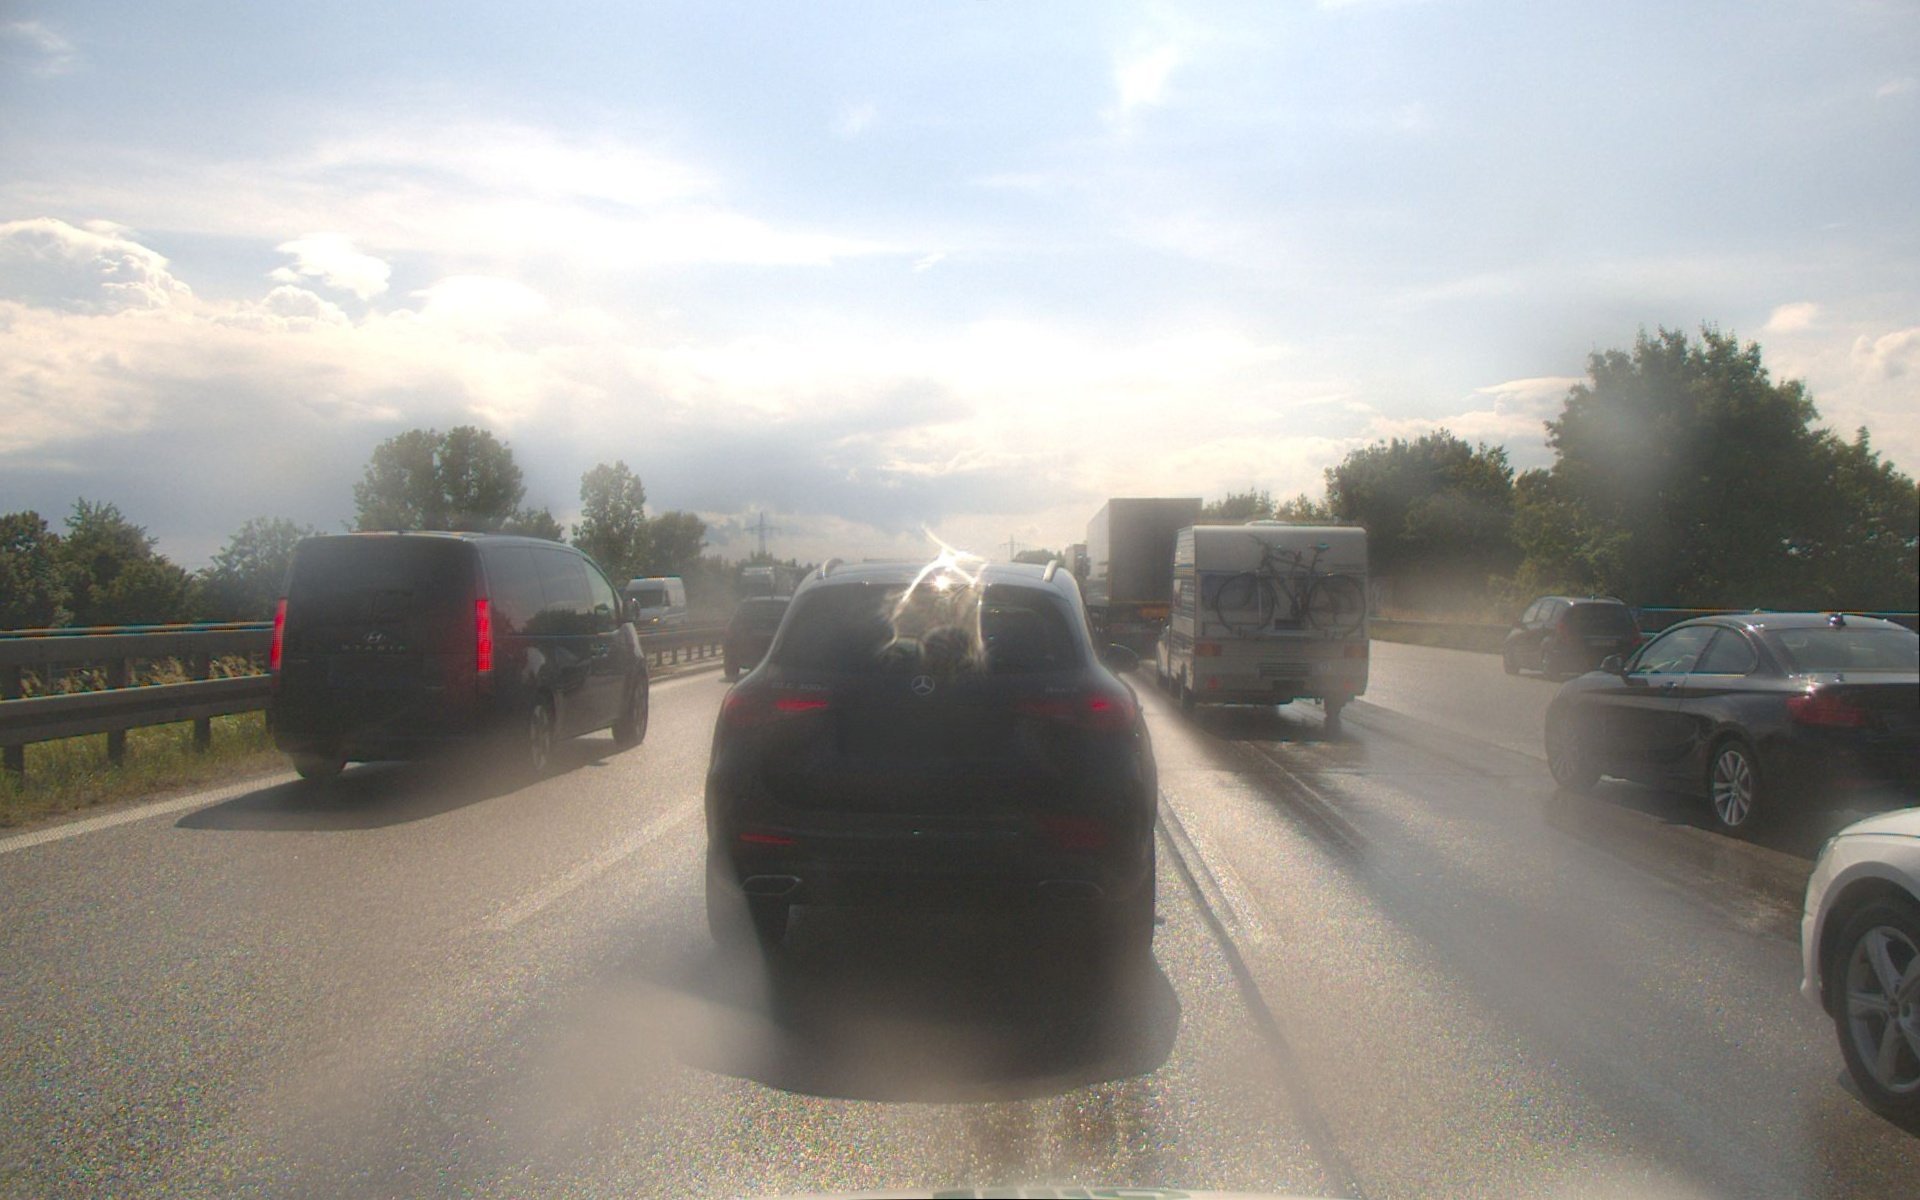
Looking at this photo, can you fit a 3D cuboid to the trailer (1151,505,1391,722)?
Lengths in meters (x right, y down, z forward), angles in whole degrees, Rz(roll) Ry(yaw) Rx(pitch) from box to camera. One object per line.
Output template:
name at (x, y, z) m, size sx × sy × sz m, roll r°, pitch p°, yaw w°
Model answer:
trailer at (4.058, 0.161, 22.858) m, size 2.325 × 2.526 × 6.525 m, roll 1°, pitch 0°, yaw 2°

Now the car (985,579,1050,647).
car at (1.943, 0.414, 54.775) m, size 1.952 × 2.048 × 4.002 m, roll 4°, pitch 0°, yaw 3°

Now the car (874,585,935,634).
car at (-2.098, 0.356, 64.083) m, size 1.952 × 1.803 × 4.002 m, roll 2°, pitch 0°, yaw 3°

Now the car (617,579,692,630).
car at (-12.883, 0.162, 70.091) m, size 1.952 × 2.049 × 5.560 m, roll -1°, pitch 0°, yaw 2°

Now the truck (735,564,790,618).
truck at (-14.611, -0.586, 123.015) m, size 2.802 × 3.888 × 7.879 m, roll 0°, pitch -1°, yaw 2°

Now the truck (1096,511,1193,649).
truck at (5.902, -0.621, 53.536) m, size 2.932 × 4.239 × 5.243 m, roll 1°, pitch 0°, yaw 5°

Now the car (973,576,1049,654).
car at (1.459, 0.400, 45.942) m, size 1.952 × 2.049 × 4.002 m, roll 1°, pitch 0°, yaw 3°

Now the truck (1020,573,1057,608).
truck at (9.622, -1.152, 204.179) m, size 3.765 × 4.087 × 11.218 m, roll 1°, pitch 0°, yaw -1°

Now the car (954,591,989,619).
car at (0.749, 0.323, 105.716) m, size 1.952 × 1.644 × 4.002 m, roll 4°, pitch 0°, yaw 3°

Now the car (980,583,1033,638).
car at (1.869, 0.411, 65.481) m, size 1.952 × 2.049 × 4.002 m, roll 2°, pitch 0°, yaw 3°

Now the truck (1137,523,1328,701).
truck at (4.218, 0.174, 26.590) m, size 2.325 × 2.520 × 5.758 m, roll 1°, pitch 0°, yaw 2°

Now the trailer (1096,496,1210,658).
trailer at (5.454, -0.611, 48.005) m, size 2.943 × 4.239 × 8.541 m, roll 1°, pitch 0°, yaw 5°

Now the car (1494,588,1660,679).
car at (11.760, 0.609, 31.798) m, size 1.810 × 1.596 × 4.001 m, roll 1°, pitch 0°, yaw 2°

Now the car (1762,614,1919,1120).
car at (3.731, 0.752, 3.387) m, size 1.790 × 1.450 × 4.508 m, roll 0°, pitch -1°, yaw -3°

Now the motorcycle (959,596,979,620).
motorcycle at (0.493, 0.441, 92.165) m, size 1.051 × 1.293 × 2.690 m, roll 0°, pitch 0°, yaw 2°

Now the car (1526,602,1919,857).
car at (5.820, 0.765, 11.934) m, size 1.812 × 1.489 × 4.252 m, roll 0°, pitch 0°, yaw -3°

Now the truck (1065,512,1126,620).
truck at (6.423, -1.567, 79.477) m, size 2.450 × 4.914 × 7.544 m, roll 1°, pitch 0°, yaw 1°

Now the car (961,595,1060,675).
car at (1.015, 0.634, 31.980) m, size 1.768 × 1.432 × 4.001 m, roll 1°, pitch 0°, yaw 3°

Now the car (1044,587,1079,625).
car at (6.074, 0.353, 98.915) m, size 1.952 × 2.048 × 4.002 m, roll 4°, pitch 0°, yaw 3°

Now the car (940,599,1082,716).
car at (0.741, 0.693, 22.034) m, size 1.720 × 1.411 × 3.947 m, roll 0°, pitch 0°, yaw 3°

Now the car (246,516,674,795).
car at (-4.145, 0.396, 14.804) m, size 1.952 × 2.049 × 5.272 m, roll 0°, pitch 0°, yaw 3°

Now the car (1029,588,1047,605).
car at (8.526, -0.376, 181.001) m, size 1.838 × 1.791 × 4.000 m, roll 1°, pitch 0°, yaw 0°

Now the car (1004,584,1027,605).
car at (4.852, -0.439, 145.122) m, size 1.838 × 1.791 × 4.000 m, roll 1°, pitch 0°, yaw 0°

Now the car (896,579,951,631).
car at (-1.531, 0.203, 70.916) m, size 1.952 × 2.048 × 4.002 m, roll 4°, pitch 0°, yaw 3°

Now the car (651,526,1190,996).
car at (-0.054, 0.582, 8.195) m, size 1.952 × 1.690 × 4.407 m, roll 0°, pitch 0°, yaw 2°

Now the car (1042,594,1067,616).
car at (7.954, 0.400, 138.805) m, size 1.838 × 1.791 × 4.000 m, roll 1°, pitch 0°, yaw 0°

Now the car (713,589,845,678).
car at (-3.264, 0.568, 30.577) m, size 1.720 × 1.543 × 4.210 m, roll 0°, pitch 0°, yaw 3°

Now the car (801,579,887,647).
car at (-3.127, 0.353, 45.396) m, size 1.952 × 1.750 × 4.001 m, roll 1°, pitch 0°, yaw 1°

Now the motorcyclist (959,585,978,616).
motorcyclist at (0.499, 0.035, 92.248) m, size 1.042 × 1.748 × 0.785 m, roll 0°, pitch 0°, yaw 1°

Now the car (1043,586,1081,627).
car at (5.453, 0.328, 88.457) m, size 1.952 × 2.049 × 4.002 m, roll 2°, pitch 0°, yaw 3°
